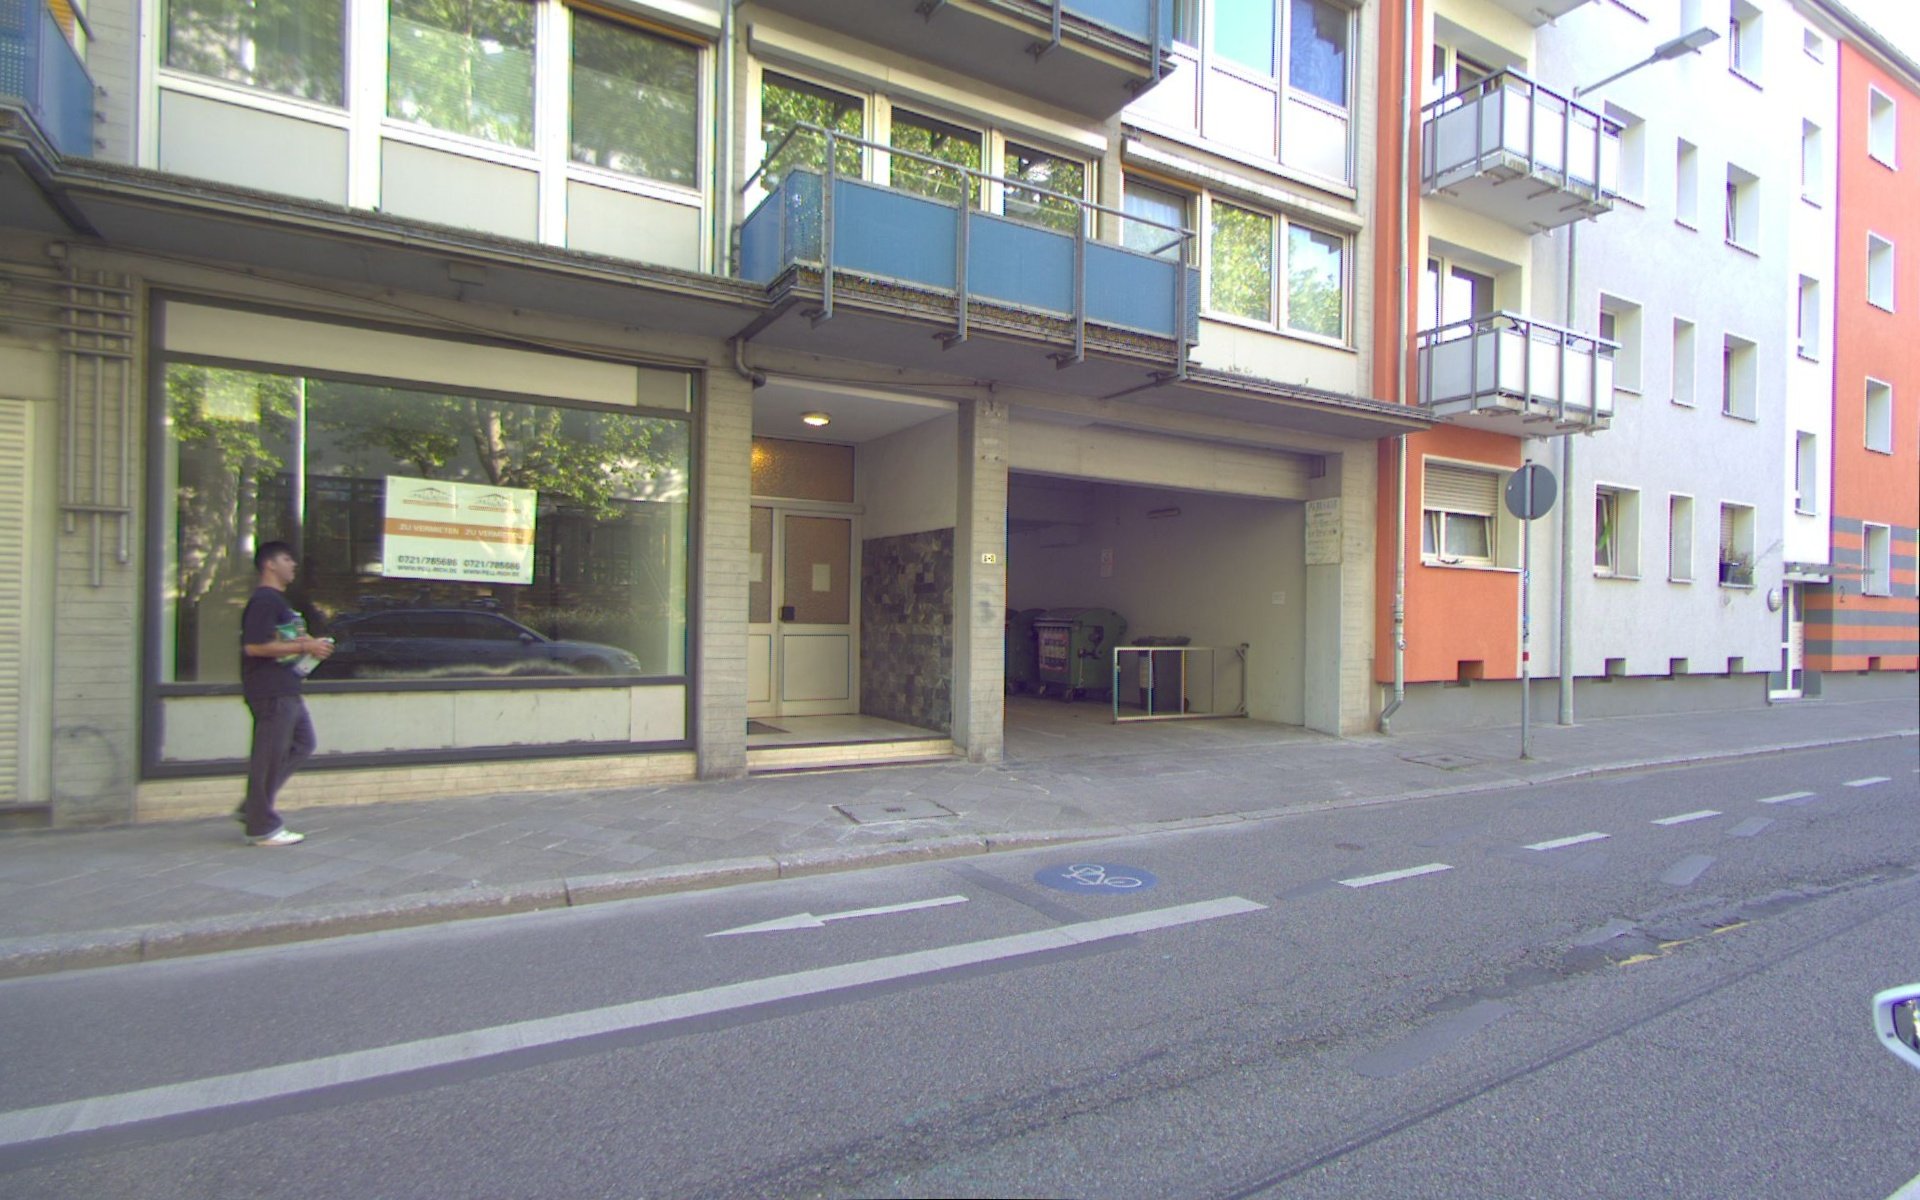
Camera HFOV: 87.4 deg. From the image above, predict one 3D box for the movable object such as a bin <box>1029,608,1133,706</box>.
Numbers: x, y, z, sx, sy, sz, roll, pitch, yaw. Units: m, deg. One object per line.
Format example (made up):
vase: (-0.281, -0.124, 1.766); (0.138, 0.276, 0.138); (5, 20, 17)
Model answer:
movable object such as a bin: (1.891, 0.867, 15.813); (1.116, 1.444, 1.201); (1, 0, -30)

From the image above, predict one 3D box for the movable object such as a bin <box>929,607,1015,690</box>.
movable object such as a bin: (0.209, 0.867, 18.470); (1.116, 1.444, 1.201); (1, 0, -30)

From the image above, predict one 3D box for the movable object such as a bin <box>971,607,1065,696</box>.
movable object such as a bin: (0.979, 0.861, 17.172); (1.116, 1.444, 1.201); (1, 0, -30)

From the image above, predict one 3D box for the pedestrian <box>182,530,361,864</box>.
pedestrian: (-3.997, 0.527, 5.891); (0.784, 1.795, 0.658); (1, 0, -30)

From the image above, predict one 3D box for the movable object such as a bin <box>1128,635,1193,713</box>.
movable object such as a bin: (2.888, 1.049, 14.503); (0.667, 1.079, 0.639); (1, 0, -30)

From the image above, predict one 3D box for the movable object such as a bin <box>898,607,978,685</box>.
movable object such as a bin: (-0.439, 0.873, 19.619); (1.116, 1.444, 1.201); (1, 0, -30)
